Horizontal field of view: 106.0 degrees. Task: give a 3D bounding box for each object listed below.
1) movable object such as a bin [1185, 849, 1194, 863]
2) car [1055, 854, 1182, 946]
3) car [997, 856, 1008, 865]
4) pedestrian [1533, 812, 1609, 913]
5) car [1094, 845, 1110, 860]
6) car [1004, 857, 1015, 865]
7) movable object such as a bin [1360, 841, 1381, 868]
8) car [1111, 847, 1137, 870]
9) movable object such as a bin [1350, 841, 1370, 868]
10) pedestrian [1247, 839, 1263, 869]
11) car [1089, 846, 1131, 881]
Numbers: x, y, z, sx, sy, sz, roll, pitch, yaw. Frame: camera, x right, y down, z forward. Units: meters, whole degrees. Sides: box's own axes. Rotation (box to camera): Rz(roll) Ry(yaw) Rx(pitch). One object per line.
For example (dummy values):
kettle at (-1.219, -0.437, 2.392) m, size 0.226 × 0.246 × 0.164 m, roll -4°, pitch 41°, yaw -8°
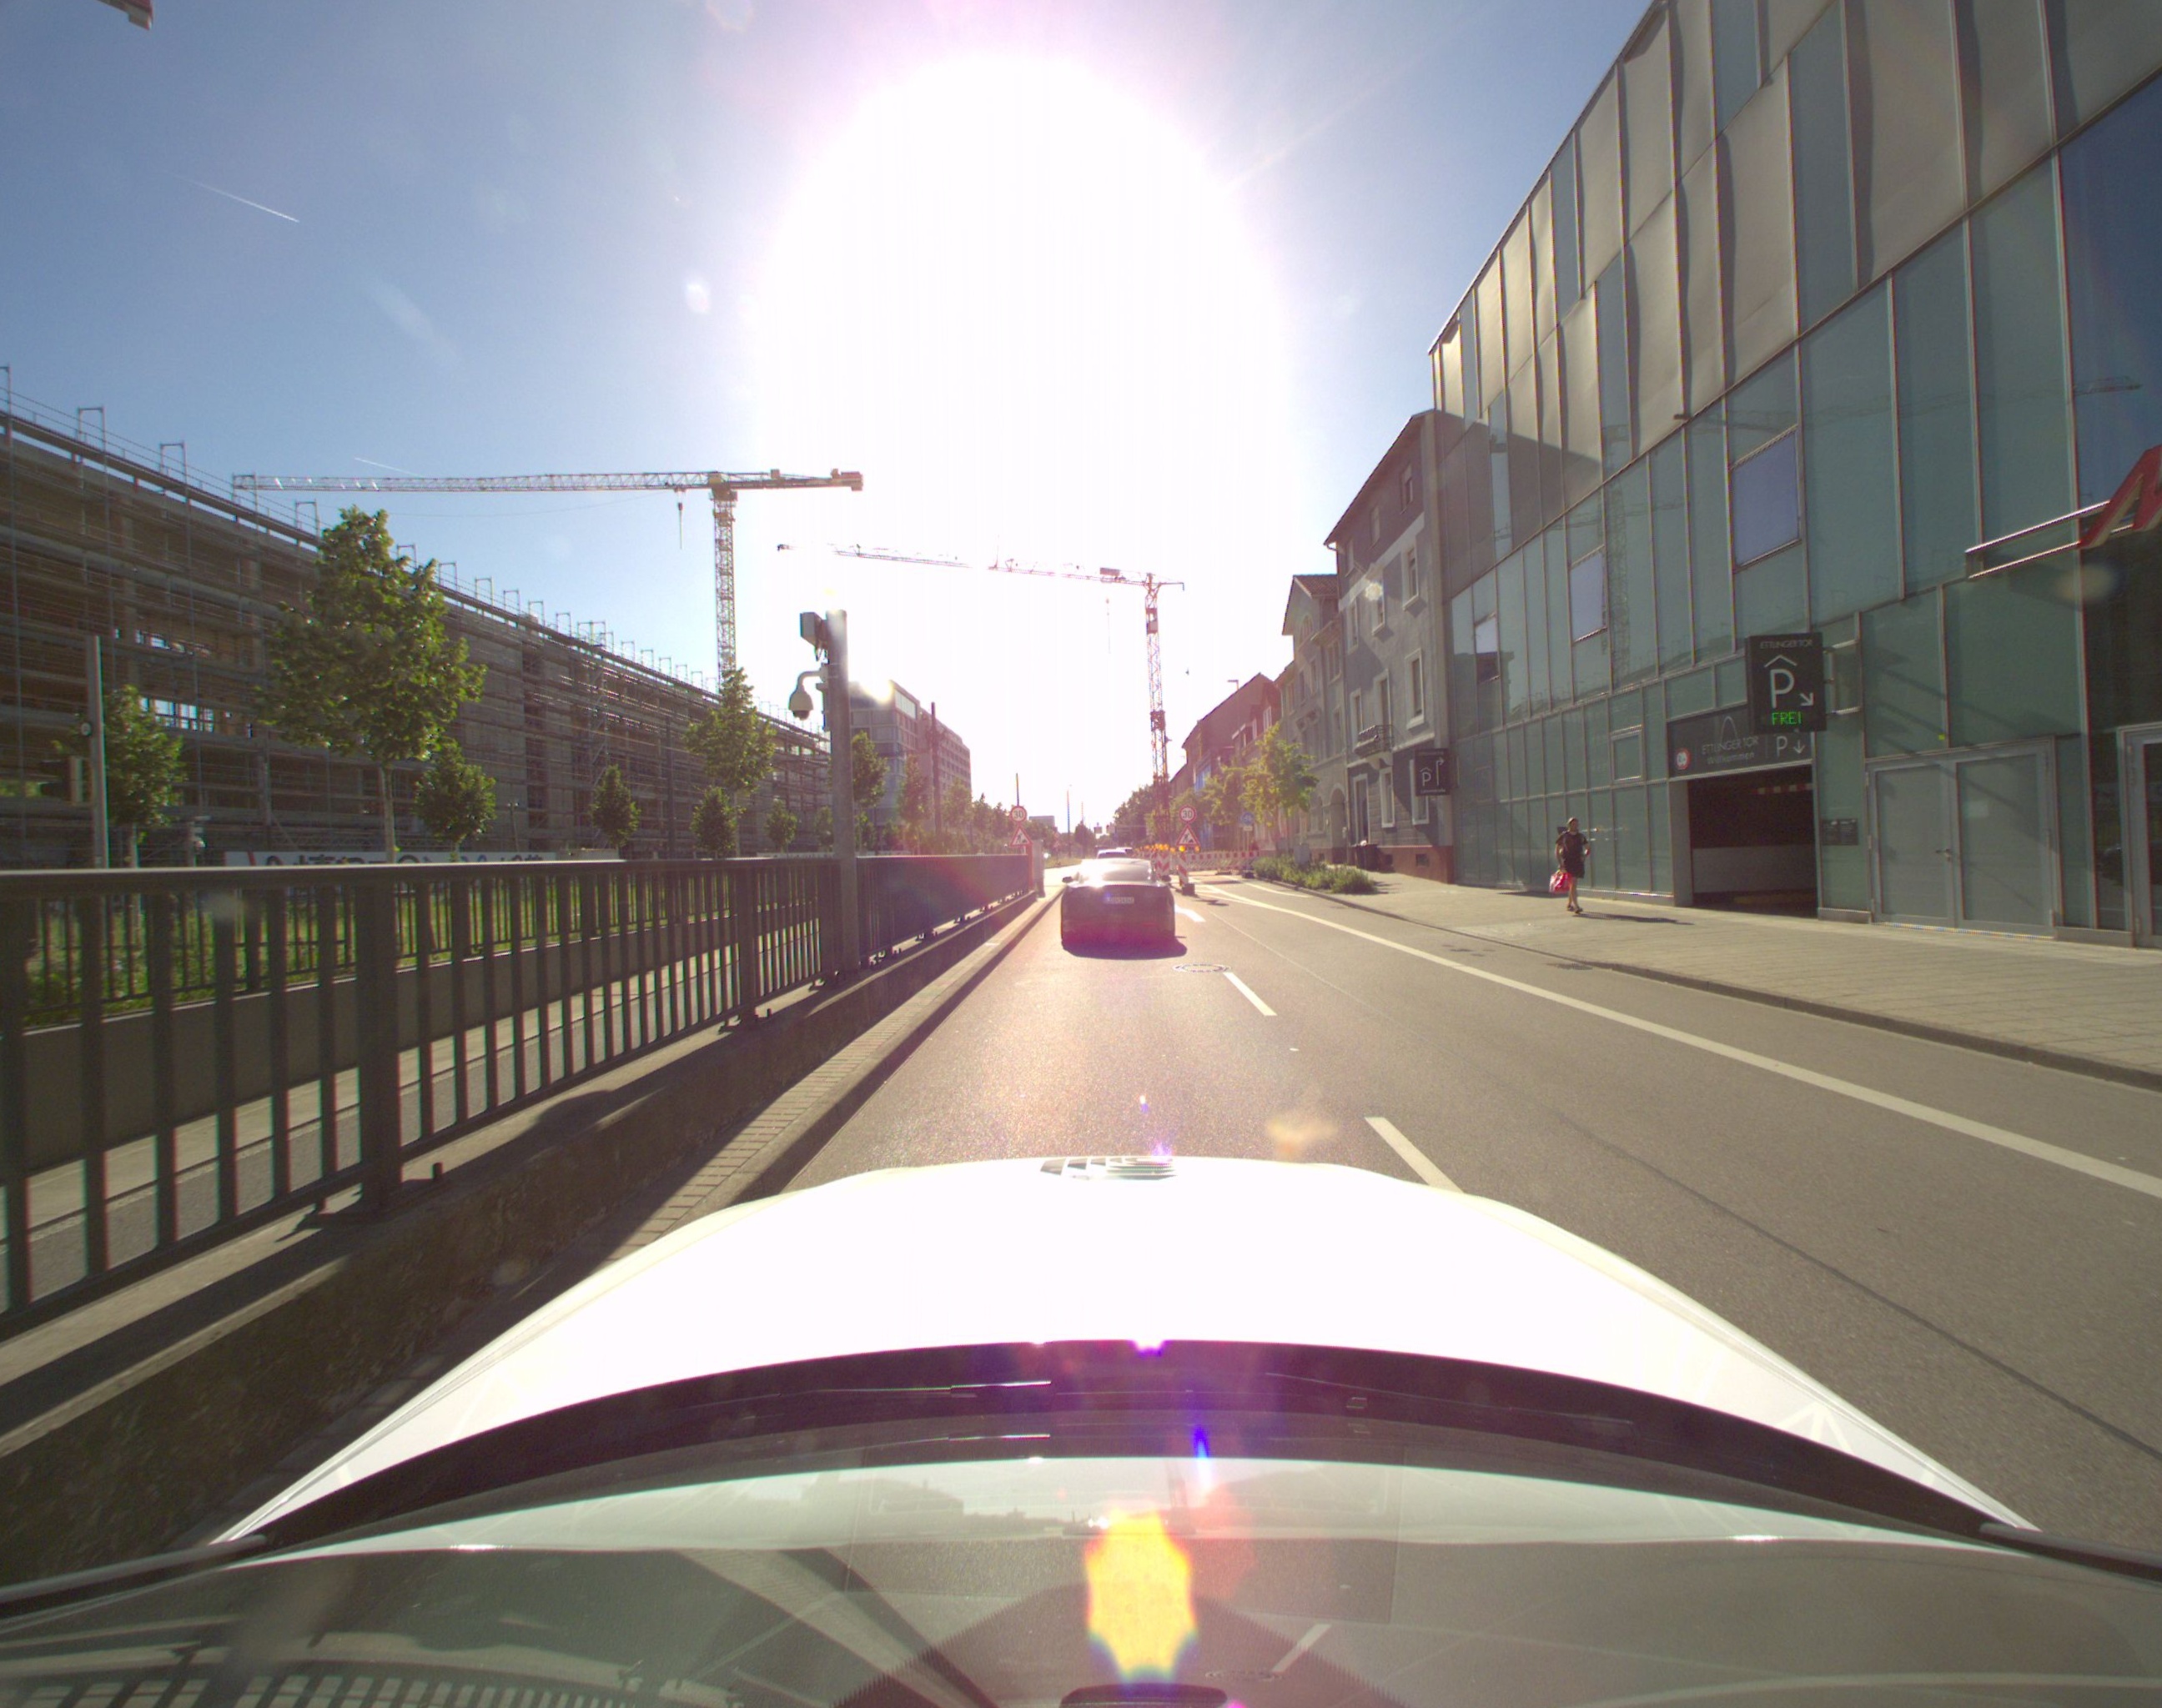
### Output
movable object such as a bin at (9.057, 0.176, 68.077) m, size 0.593 × 1.057 × 0.731 m, roll -6°, pitch 0°, yaw 3°
car at (0.688, 0.752, 15.538) m, size 2.043 × 1.444 × 4.526 m, roll -1°, pitch 0°, yaw 2°
car at (-16.809, 1.376, 174.012) m, size 1.783 × 1.651 × 4.003 m, roll -3°, pitch 0°, yaw 3°
pedestrian at (9.951, 0.160, 16.588) m, size 0.872 × 1.924 × 0.896 m, roll -5°, pitch 0°, yaw 1°
car at (3.096, -0.230, 121.727) m, size 2.210 × 2.267 × 4.485 m, roll -1°, pitch 0°, yaw 1°
car at (-15.954, 1.577, 182.309) m, size 1.783 × 1.651 × 4.003 m, roll -3°, pitch 0°, yaw 3°
movable object such as a bin at (11.847, 0.026, 33.378) m, size 0.600 × 1.082 × 0.704 m, roll -2°, pitch 0°, yaw 3°
car at (3.103, 0.303, 58.506) m, size 1.742 × 1.527 × 4.007 m, roll -1°, pitch 0°, yaw 3°
movable object such as a bin at (11.718, 0.007, 34.200) m, size 0.586 × 1.108 × 0.704 m, roll -2°, pitch 0°, yaw 3°
pedestrian at (11.284, -0.024, 52.890) m, size 0.792 × 1.928 × 0.768 m, roll -2°, pitch 0°, yaw -8°
car at (1.316, 0.409, 37.133) m, size 1.741 × 1.427 × 4.840 m, roll -2°, pitch 0°, yaw 2°
